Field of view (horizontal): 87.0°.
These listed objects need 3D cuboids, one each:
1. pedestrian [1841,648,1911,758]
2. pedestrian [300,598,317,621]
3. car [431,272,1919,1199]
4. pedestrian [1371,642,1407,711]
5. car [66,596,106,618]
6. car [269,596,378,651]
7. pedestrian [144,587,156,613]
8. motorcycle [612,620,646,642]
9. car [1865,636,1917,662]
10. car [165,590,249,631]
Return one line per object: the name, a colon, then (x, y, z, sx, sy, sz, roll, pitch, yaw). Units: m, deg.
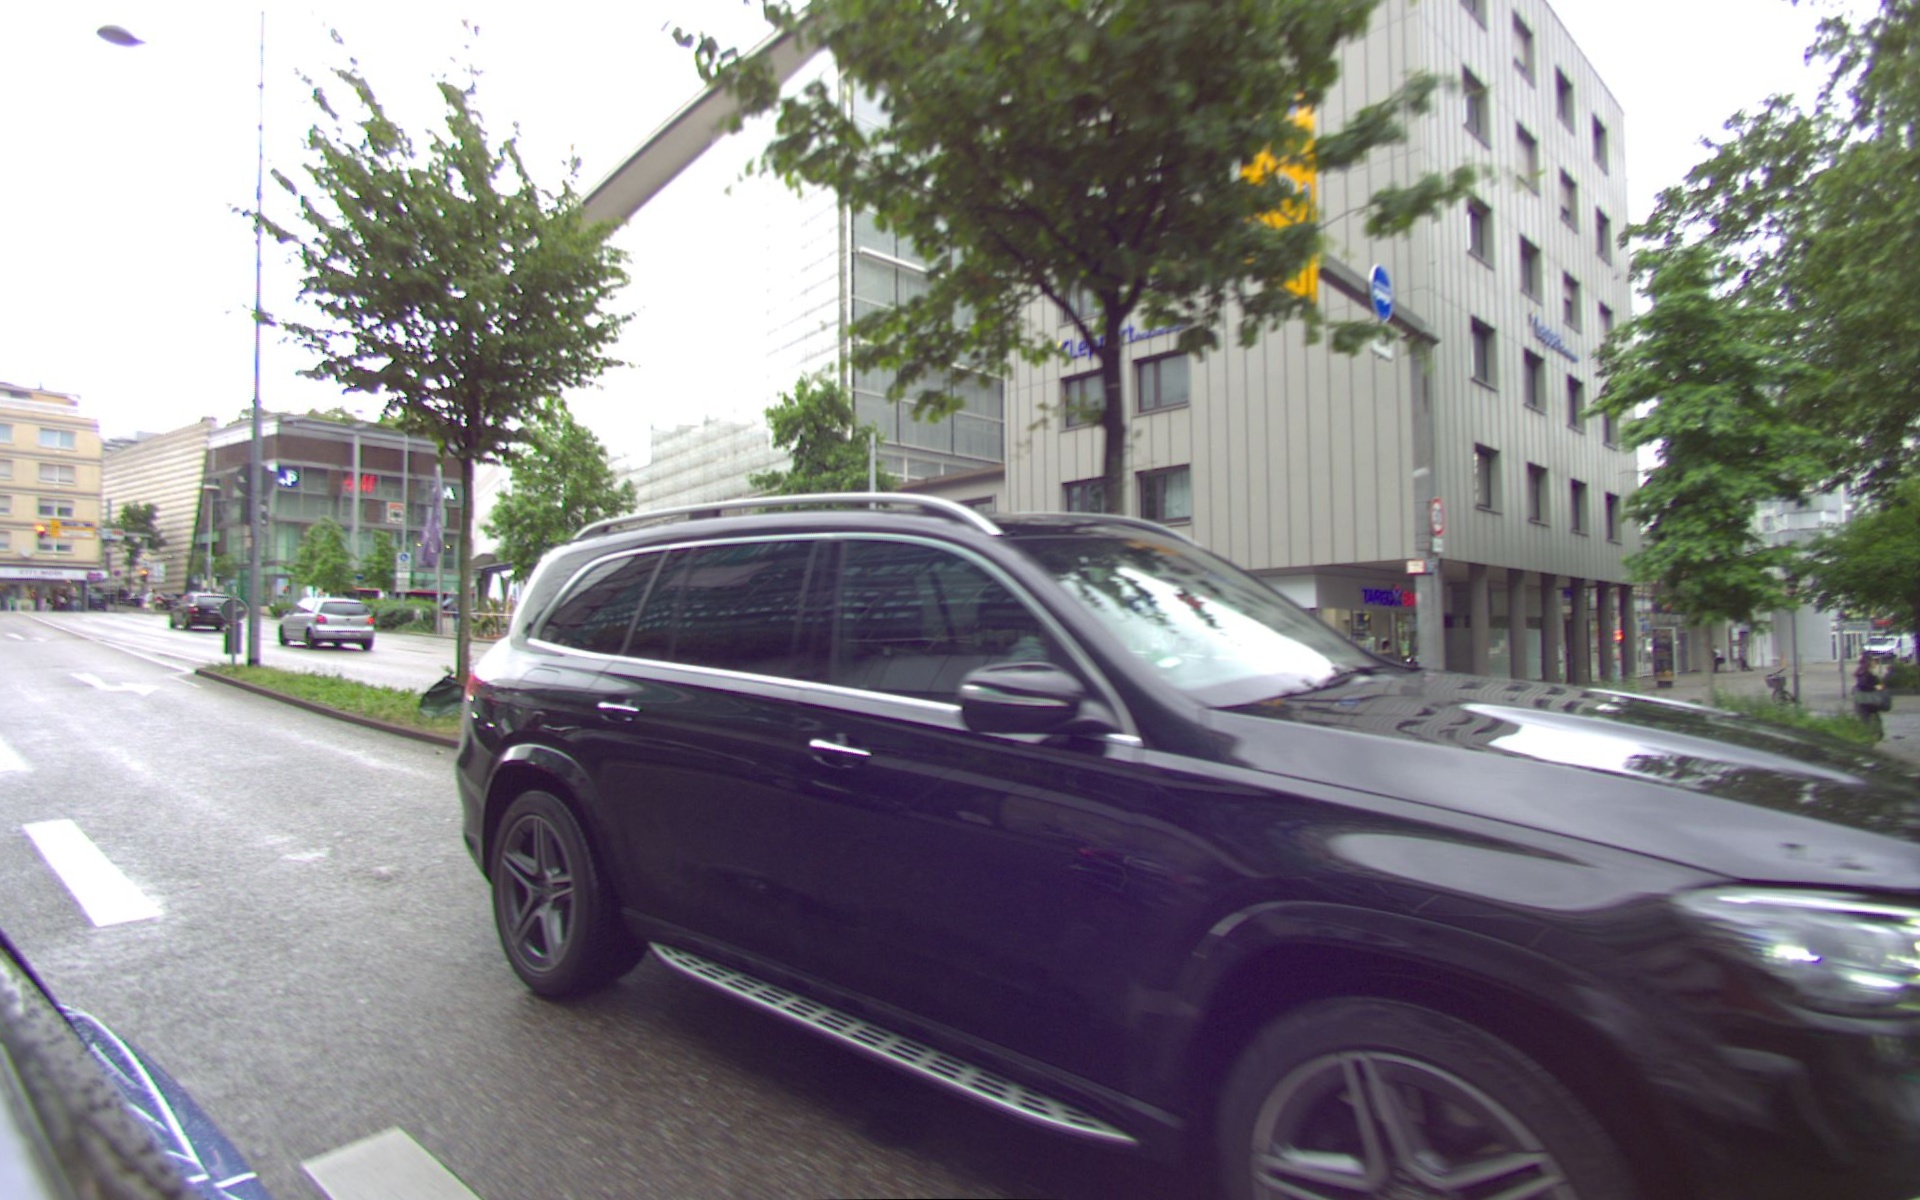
pedestrian: (14.018, 1.558, 15.511, 0.700, 1.619, 0.671, -4, -5, 41)
pedestrian: (-54.070, 0.800, 84.016, 0.735, 1.912, 0.978, 0, 1, 23)
car: (0.294, 0.445, 3.388, 4.882, 1.791, 1.973, 1, 1, 40)
pedestrian: (10.682, 1.896, 25.195, 0.613, 1.669, 0.633, 2, -1, -44)
car: (-84.968, 0.686, 98.372, 3.989, 2.029, 1.977, 0, 1, 34)
car: (-18.478, 0.657, 29.326, 3.644, 1.448, 1.608, 1, -1, 40)
pedestrian: (-58.147, 0.025, 72.656, 0.588, 1.855, 0.598, 0, 1, 40)
motorcycle: (-16.673, 1.562, 50.954, 1.549, 1.080, 0.418, 3, -2, -40)
car: (66.596, 3.495, 72.391, 3.746, 1.763, 1.922, 1, -1, -35)
car: (-30.082, 0.414, 40.408, 4.186, 1.520, 1.971, 1, -1, 43)
